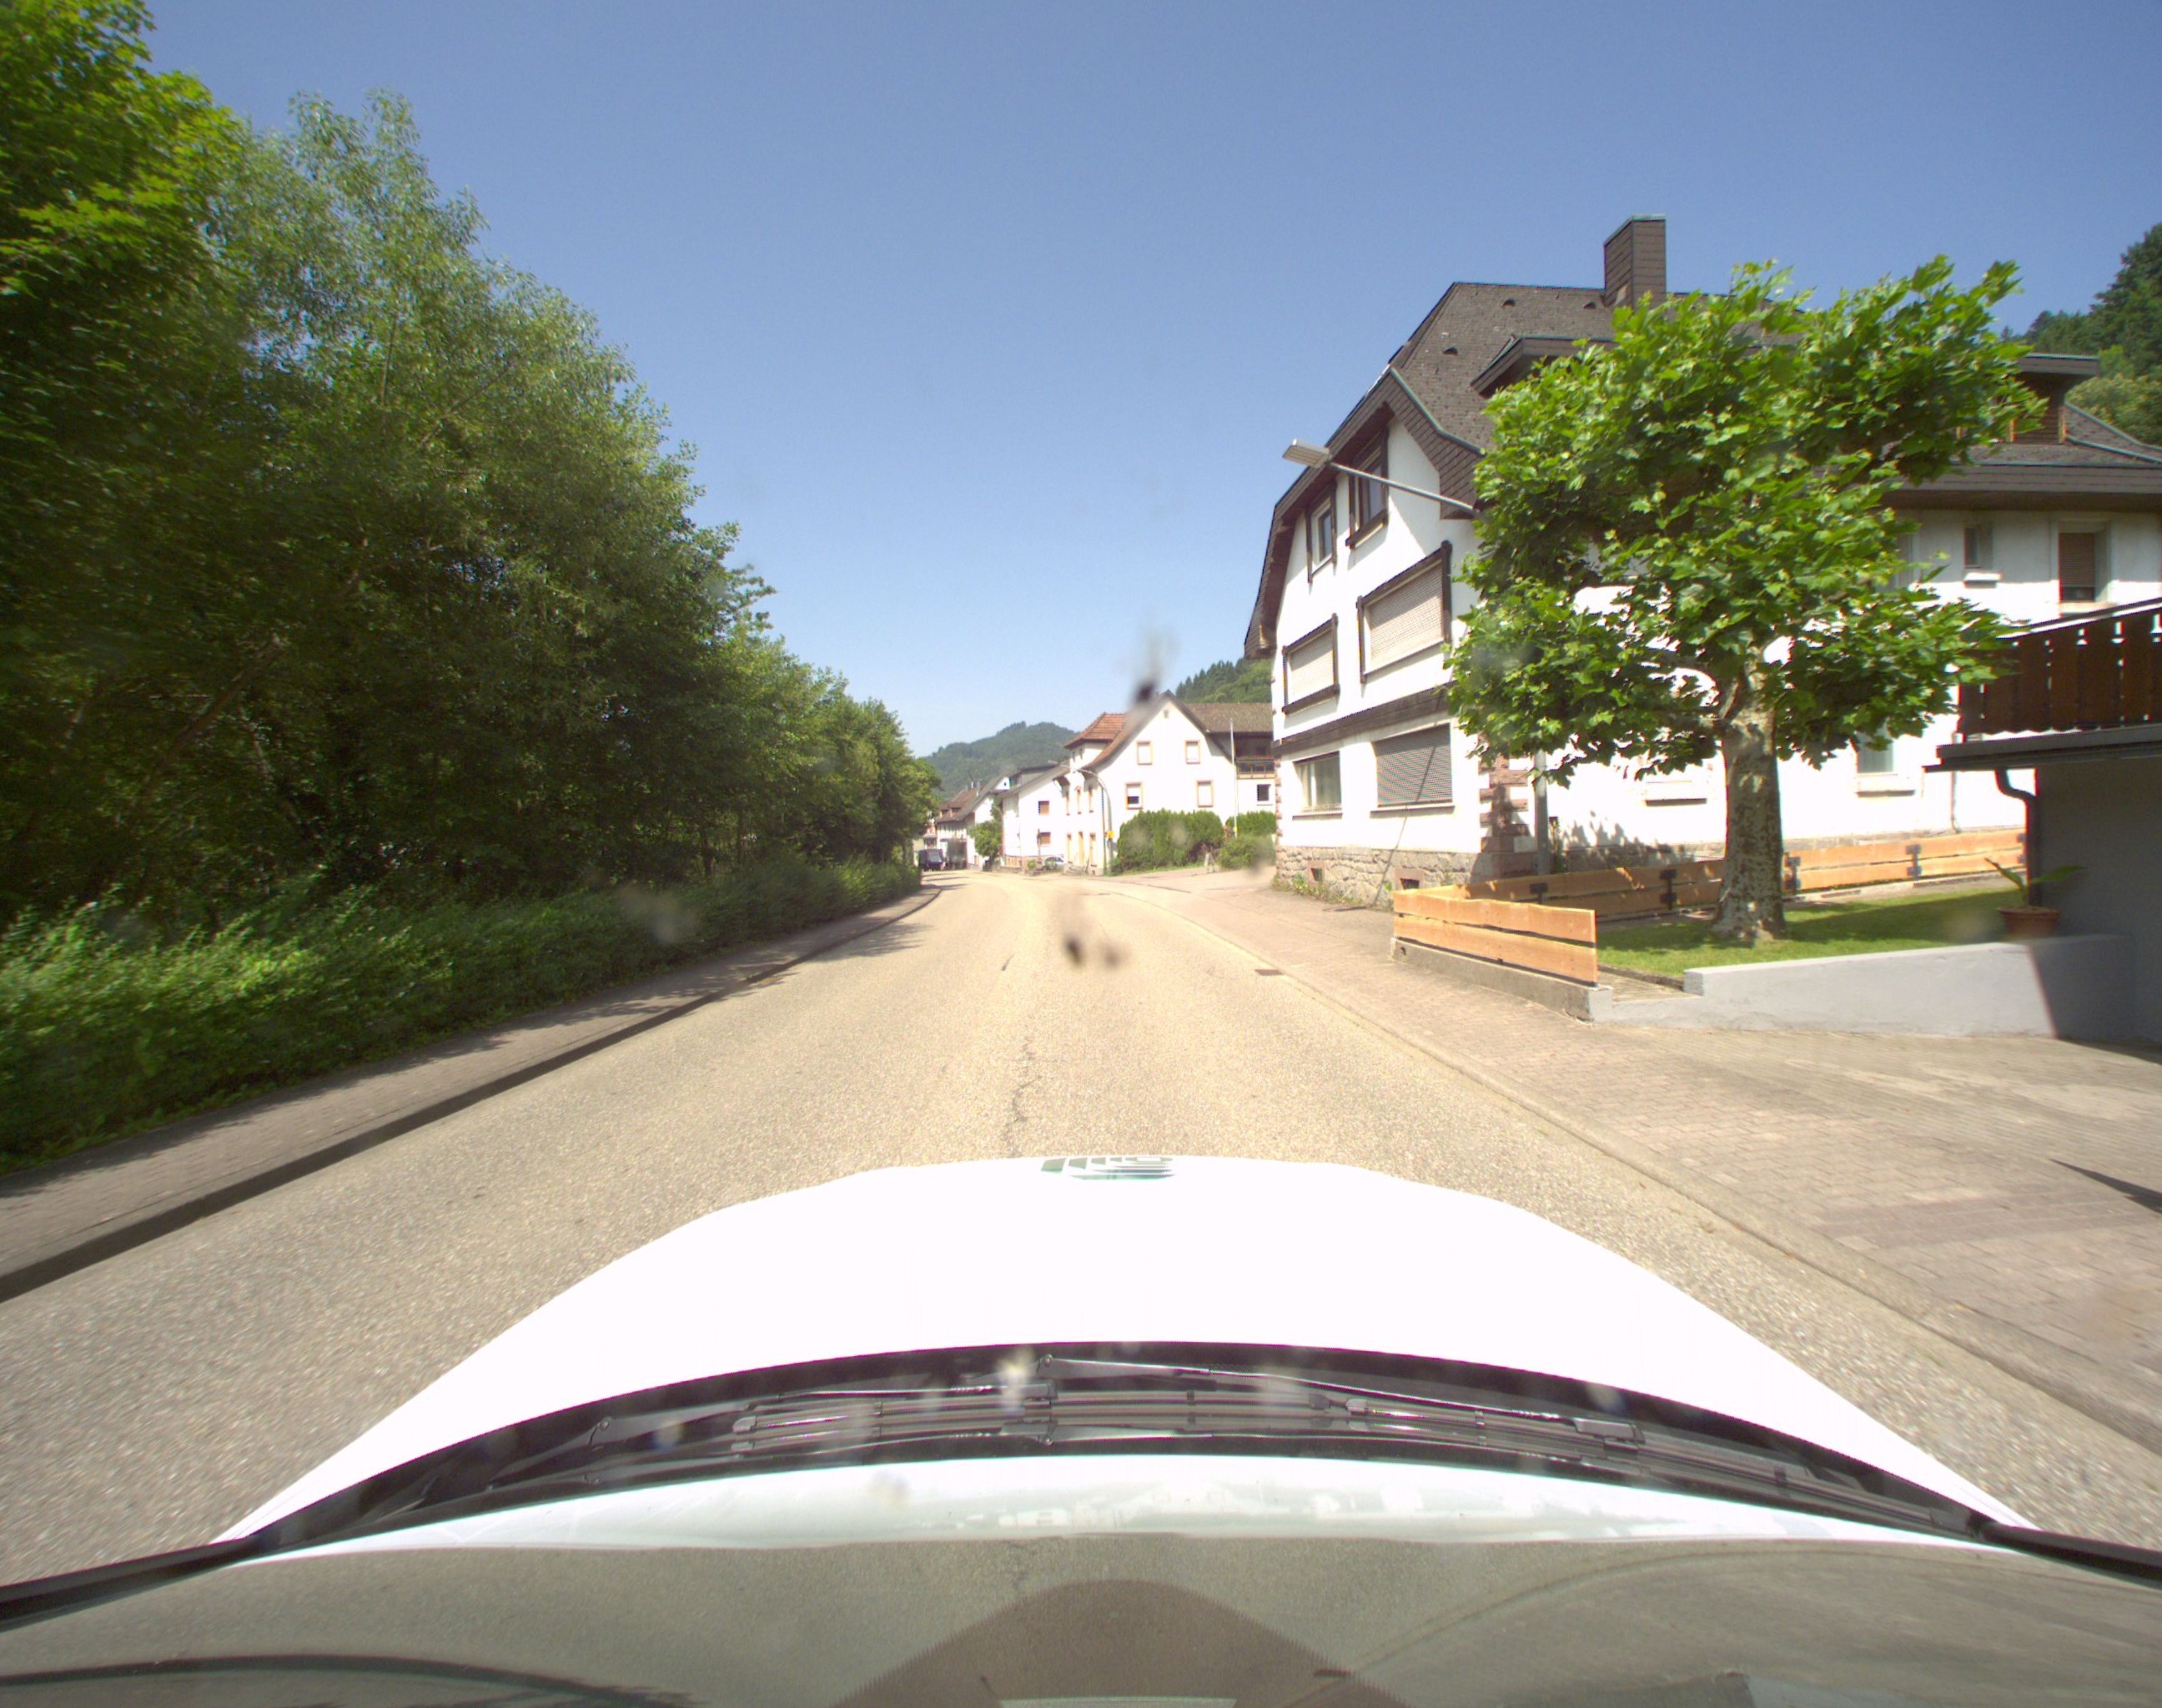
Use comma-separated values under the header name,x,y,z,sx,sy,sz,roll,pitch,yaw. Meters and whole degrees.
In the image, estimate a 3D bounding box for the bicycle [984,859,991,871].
name,x,y,z,sx,sy,sz,roll,pitch,yaw
bicycle,-11.077,1.309,96.548,0.426,1.396,2.266,-6,1,-13

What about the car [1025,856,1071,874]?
name,x,y,z,sx,sy,sz,roll,pitch,yaw
car,-2.974,0.989,72.417,3.727,1.427,1.620,-4,0,31

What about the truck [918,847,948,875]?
name,x,y,z,sx,sy,sz,roll,pitch,yaw
truck,-23.314,1.113,128.224,3.372,3.781,8.389,-6,-1,-17
